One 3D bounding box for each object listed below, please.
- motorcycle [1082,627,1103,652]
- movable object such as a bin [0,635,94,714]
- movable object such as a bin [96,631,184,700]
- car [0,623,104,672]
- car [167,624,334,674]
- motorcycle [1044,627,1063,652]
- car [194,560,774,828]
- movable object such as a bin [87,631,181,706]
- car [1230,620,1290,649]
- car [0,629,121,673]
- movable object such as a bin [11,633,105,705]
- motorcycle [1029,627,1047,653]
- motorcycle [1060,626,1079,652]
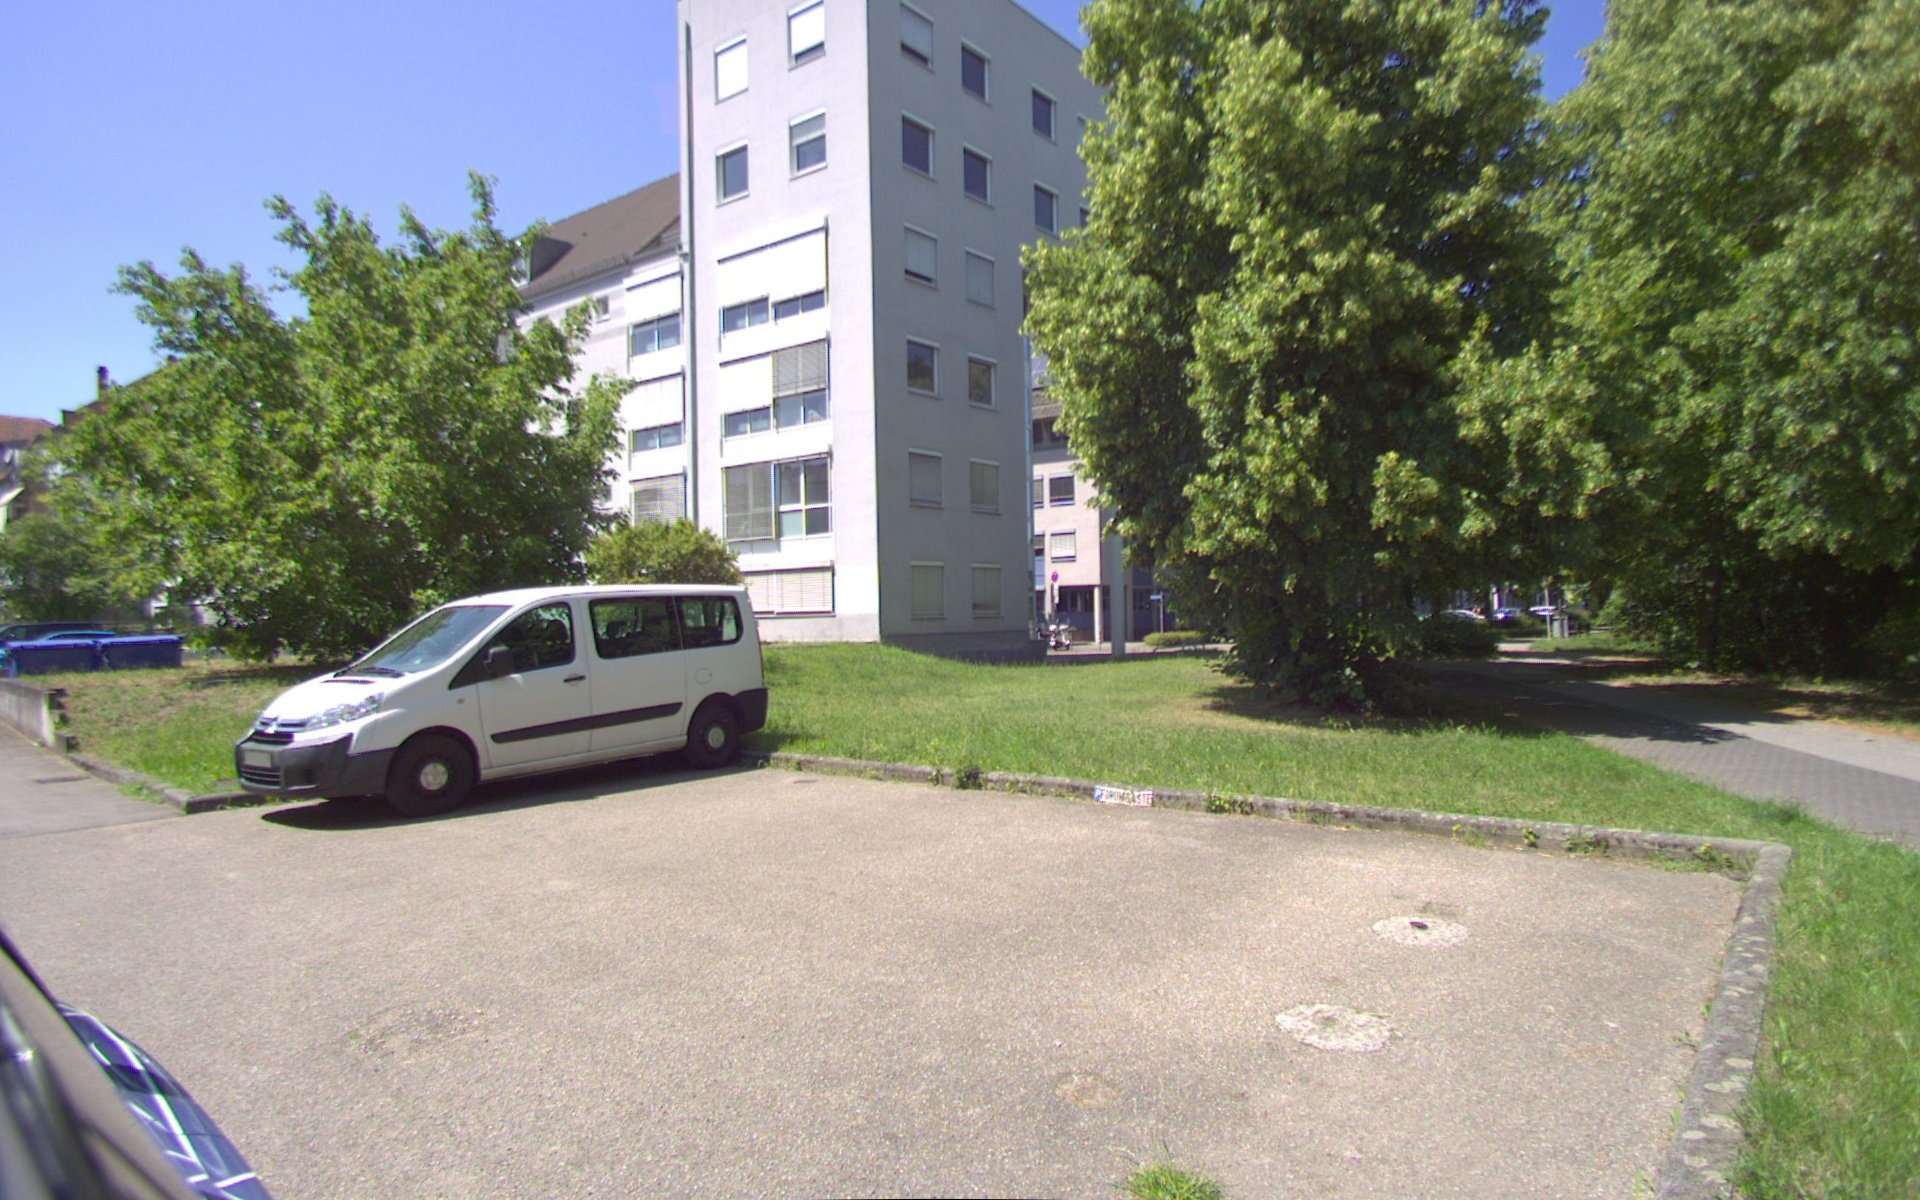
[{"bbox_3d":[6.362,1.886,48.703,0.690,1.176,2.332,-1,-1,1],"label":"motorcycle"},{"bbox_3d":[-16.780,1.331,18.538,1.103,1.338,1.241,-2,-1,41],"label":"movable object such as a bin"},{"bbox_3d":[-17.045,1.340,21.050,1.103,1.338,1.241,-2,-1,41],"label":"movable object such as a bin"},{"bbox_3d":[-37.530,1.897,40.743,1.997,1.846,4.395,-2,-1,37],"label":"car"},{"bbox_3d":[-22.071,1.494,31.622,1.708,1.447,3.950,-2,-2,37],"label":"car"},{"bbox_3d":[4.501,1.889,48.902,0.690,1.176,2.310,-1,-1,1],"label":"motorcycle"},{"bbox_3d":[-4.249,0.744,9.830,1.996,1.926,4.746,-3,-2,35],"label":"car"},{"bbox_3d":[-15.948,1.296,19.545,1.103,1.338,1.241,-2,-1,41],"label":"movable object such as a bin"},{"bbox_3d":[17.951,2.044,60.479,1.975,1.630,4.115,-2,-1,40],"label":"car"},{"bbox_3d":[-35.359,1.962,39.169,1.856,1.565,4.120,-2,-1,35],"label":"car"},{"bbox_3d":[-17.849,1.342,20.031,1.103,1.338,1.241,-2,-1,41],"label":"movable object such as a bin"},{"bbox_3d":[3.735,1.901,48.759,0.690,1.176,2.302,-1,-1,1],"label":"motorcycle"},{"bbox_3d":[5.261,1.873,48.869,0.690,1.176,2.332,-1,-1,1],"label":"motorcycle"}]
